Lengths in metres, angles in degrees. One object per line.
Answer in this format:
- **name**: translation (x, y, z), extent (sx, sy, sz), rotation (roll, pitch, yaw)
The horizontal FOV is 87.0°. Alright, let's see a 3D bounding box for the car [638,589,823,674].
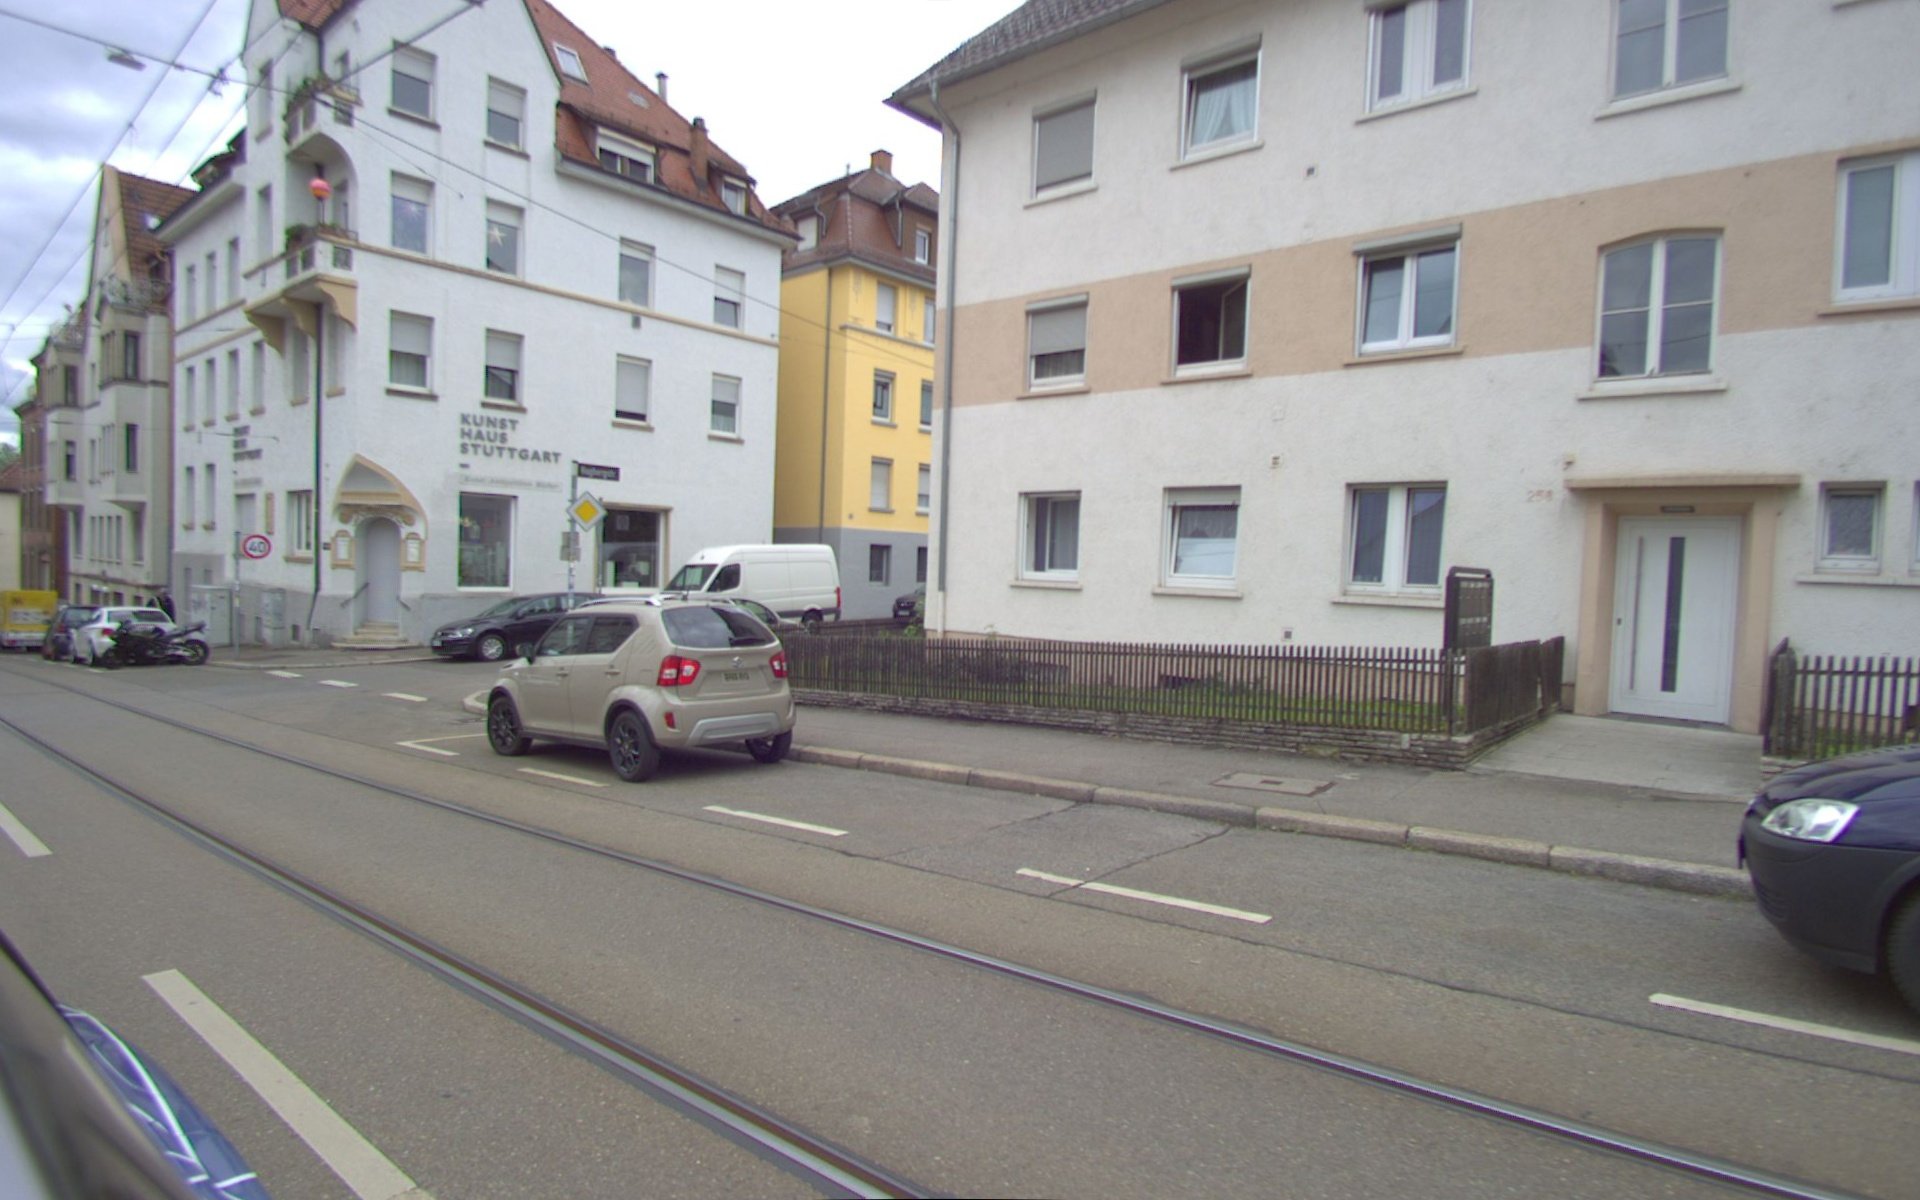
- **car**: translation (-4.837, 0.592, 21.609), extent (1.777, 1.503, 3.478), rotation (6, 5, 40)

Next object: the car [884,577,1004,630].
- **car**: translation (-0.482, 0.099, 33.859), extent (1.822, 1.636, 4.057), rotation (-1, 1, 39)

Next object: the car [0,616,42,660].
- **car**: translation (-36.243, 1.438, 38.330), extent (4.266, 1.606, 1.679), rotation (-2, -3, 41)

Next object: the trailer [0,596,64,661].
- **trailer**: translation (-33.072, 1.016, 35.635), extent (4.069, 2.172, 1.730), rotation (-2, -3, 41)

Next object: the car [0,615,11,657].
- **car**: translation (-41.191, 1.496, 42.173), extent (4.889, 1.677, 1.854), rotation (-2, -3, 41)

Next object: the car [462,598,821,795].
- **car**: translation (-3.279, 0.801, 10.048), extent (3.849, 1.568, 1.679), rotation (-1, 0, 42)

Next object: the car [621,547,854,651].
- **car**: translation (-5.954, -0.079, 27.907), extent (2.191, 2.551, 6.127), rotation (-1, 1, 42)

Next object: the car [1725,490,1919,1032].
- **car**: translation (4.988, 0.517, 2.743), extent (4.518, 1.749, 1.725), rotation (-1, -2, 42)

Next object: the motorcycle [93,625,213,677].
- **motorcycle**: translation (-18.276, 1.135, 22.987), extent (2.080, 1.143, 0.768), rotation (1, -2, -36)

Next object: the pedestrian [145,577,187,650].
- **pedestrian**: translation (-21.798, 0.361, 27.783), extent (0.810, 1.919, 0.583), rotation (-1, 5, 40)

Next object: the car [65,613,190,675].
- **car**: translation (-20.593, 1.030, 24.966), extent (4.290, 1.367, 1.761), rotation (-1, -1, 42)

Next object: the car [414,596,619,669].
- **car**: translation (-10.092, 0.675, 23.255), extent (1.754, 1.475, 3.945), rotation (-1, 1, 42)

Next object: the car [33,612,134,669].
- **car**: translation (-24.398, 1.105, 28.141), extent (3.021, 1.480, 1.679), rotation (-1, -3, 41)
